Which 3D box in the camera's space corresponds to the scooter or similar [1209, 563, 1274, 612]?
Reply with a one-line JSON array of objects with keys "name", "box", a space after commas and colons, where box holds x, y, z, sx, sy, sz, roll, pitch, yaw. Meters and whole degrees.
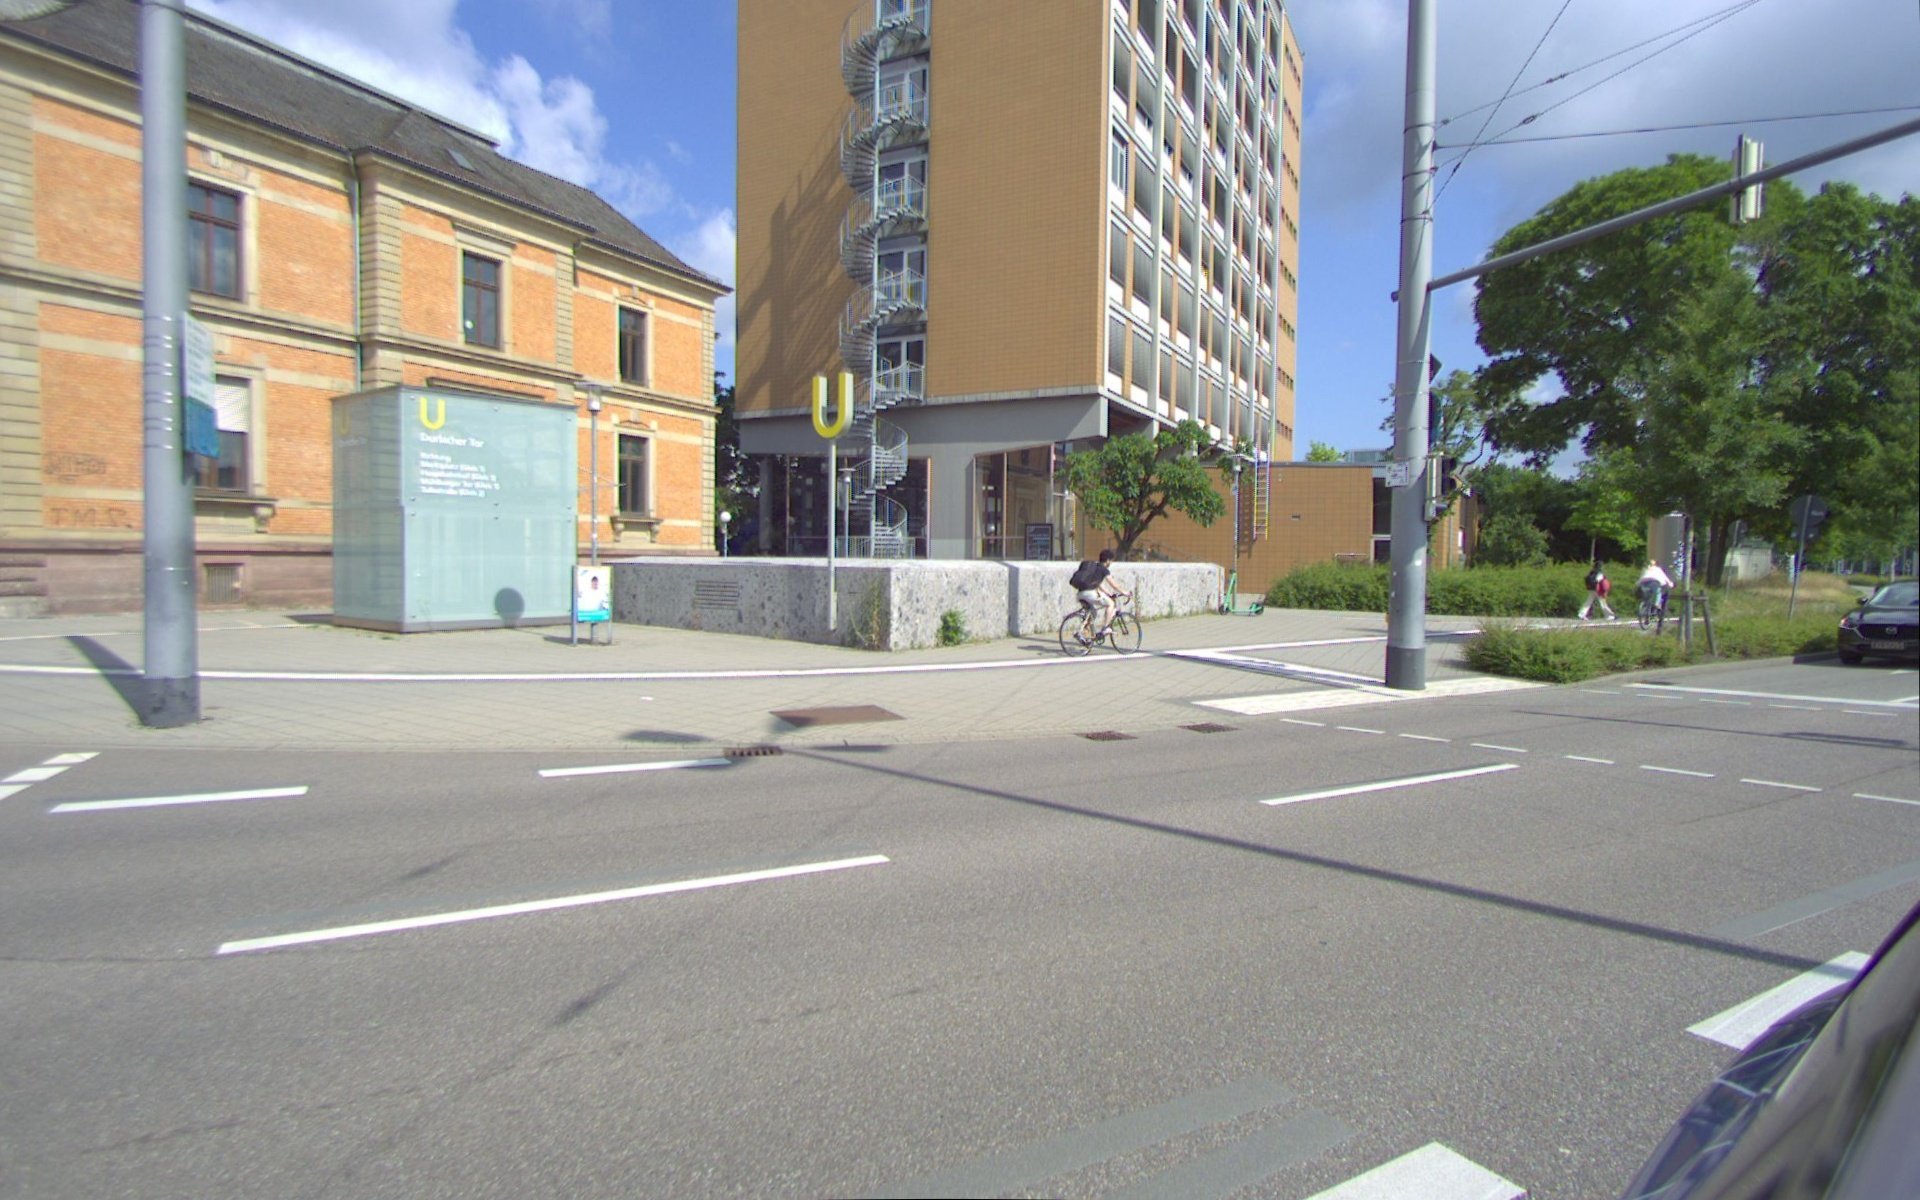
[{"name": "scooter or similar", "box": [7.224, -0.325, 26.012, 1.510, 1.198, 0.434, 2, 2, 5]}]

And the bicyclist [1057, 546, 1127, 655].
[{"name": "bicyclist", "box": [2.108, -0.015, 16.164, 0.917, 1.692, 0.581, 0, 3, -19]}]

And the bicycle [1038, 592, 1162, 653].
[{"name": "bicycle", "box": [2.240, 0.348, 16.232, 1.771, 0.885, 0.763, 0, 4, -19]}]

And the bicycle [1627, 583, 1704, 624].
[{"name": "bicycle", "box": [16.800, 0.056, 24.086, 2.231, 0.908, 0.654, -1, 2, -32]}]

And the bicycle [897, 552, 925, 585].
[{"name": "bicycle", "box": [-1.914, -1.231, 39.548, 0.424, 1.263, 1.461, 1, 2, 28]}]

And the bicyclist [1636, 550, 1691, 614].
[{"name": "bicyclist", "box": [16.706, -0.445, 24.030, 1.147, 1.475, 0.637, -1, 2, -32]}]

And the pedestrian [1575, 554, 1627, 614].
[{"name": "pedestrian", "box": [17.671, -0.455, 27.912, 0.942, 1.597, 0.767, 1, 2, 12]}]

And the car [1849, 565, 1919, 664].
[{"name": "car", "box": [17.447, 0.186, 17.849, 4.132, 1.596, 1.647, -2, 1, -34]}]
